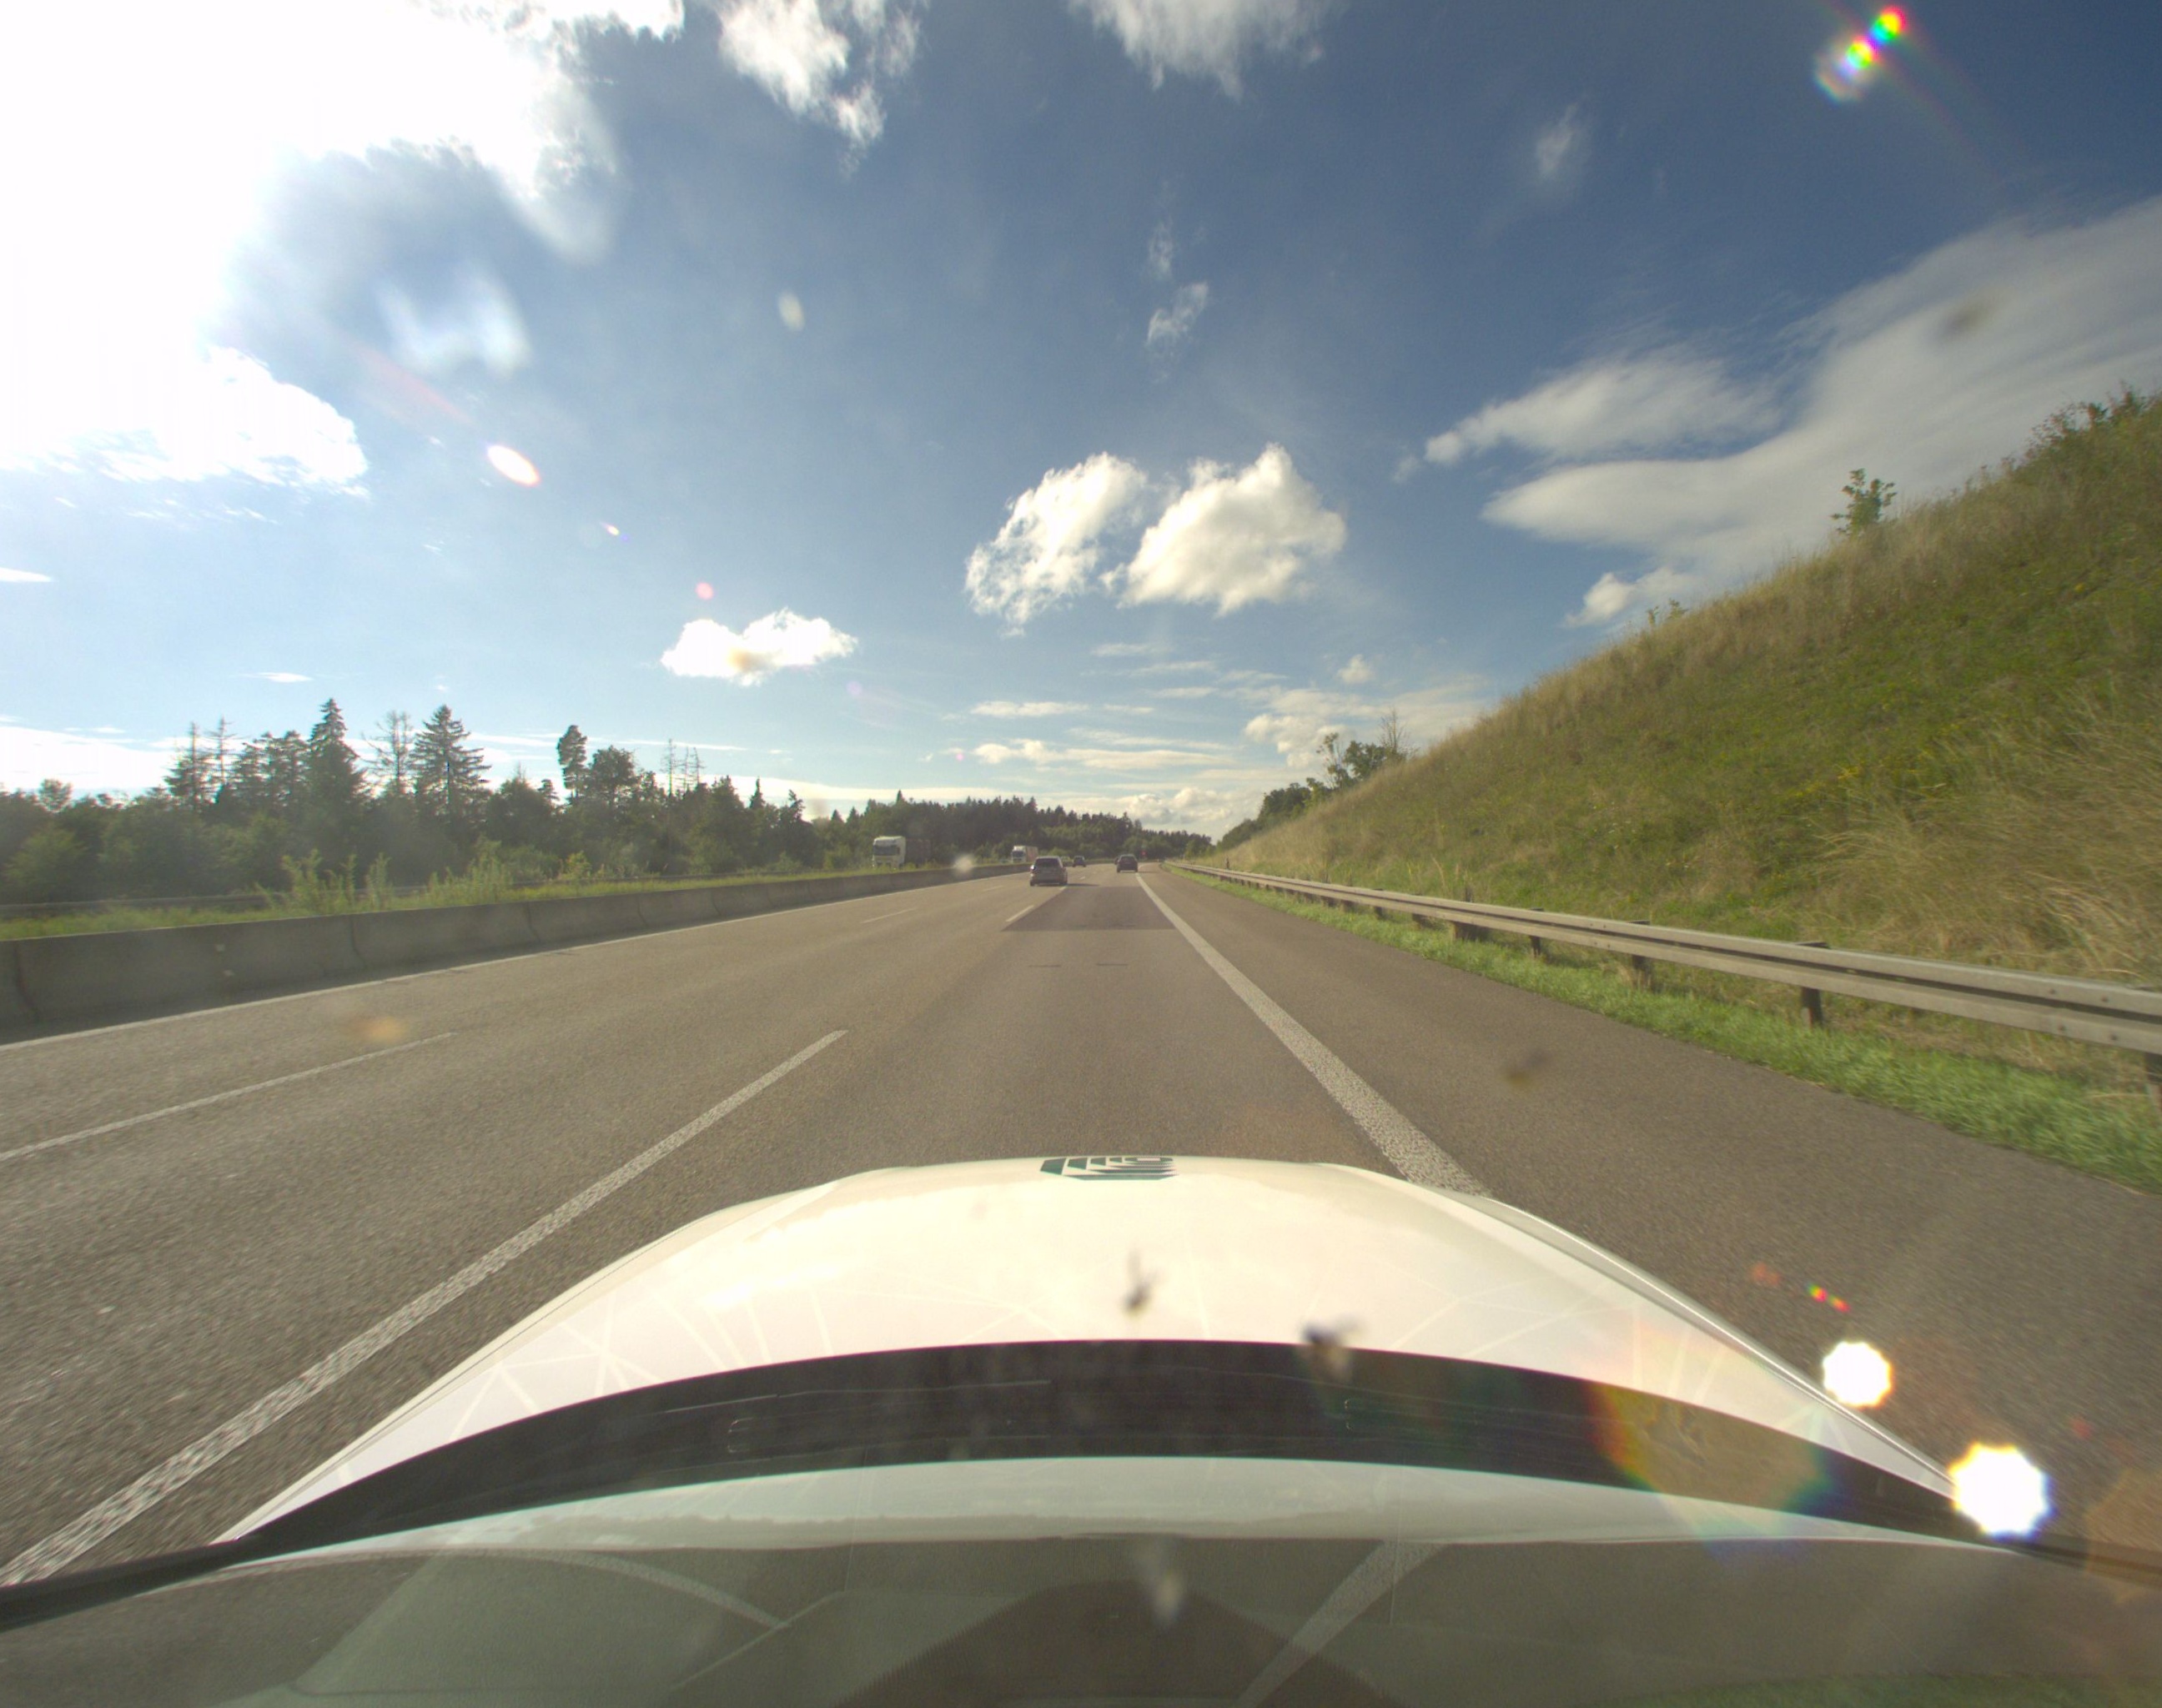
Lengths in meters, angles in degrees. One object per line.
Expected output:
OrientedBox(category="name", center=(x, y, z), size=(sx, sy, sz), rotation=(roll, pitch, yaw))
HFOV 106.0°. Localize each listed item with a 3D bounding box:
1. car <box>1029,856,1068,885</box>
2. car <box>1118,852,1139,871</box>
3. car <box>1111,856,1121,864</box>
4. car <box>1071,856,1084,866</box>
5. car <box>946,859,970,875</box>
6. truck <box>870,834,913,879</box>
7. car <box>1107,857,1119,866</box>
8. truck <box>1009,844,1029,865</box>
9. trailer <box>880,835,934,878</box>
OrientedBox(category="car", center=(-1.692, 0.845, 43.578), size=(1.867, 1.497, 3.880), rotation=(-1, 0, 1))
OrientedBox(category="car", center=(4.342, 0.703, 75.208), size=(1.866, 1.675, 3.893), rotation=(-1, 0, 3))
OrientedBox(category="car", center=(7.084, 1.235, 163.605), size=(1.866, 1.497, 3.882), rotation=(-1, 0, 3))
OrientedBox(category="car", center=(-0.493, 1.081, 121.866), size=(1.867, 1.497, 3.879), rotation=(-1, 0, 0))
OrientedBox(category="car", center=(-14.276, 1.506, 94.975), size=(1.985, 1.802, 4.003), rotation=(-1, 0, 3))
OrientedBox(category="truck", center=(-19.203, 0.290, 82.775), size=(2.791, 4.392, 5.468), rotation=(-1, 0, 2))
OrientedBox(category="car", center=(5.070, 1.198, 130.551), size=(1.866, 1.497, 3.882), rotation=(-1, 0, 2))
OrientedBox(category="truck", center=(-12.190, 0.133, 160.517), size=(3.010, 4.109, 5.675), rotation=(-1, 0, 4))
OrientedBox(category="trailer", center=(-18.907, 0.289, 89.404), size=(2.791, 4.392, 12.058), rotation=(-1, 0, 3))
